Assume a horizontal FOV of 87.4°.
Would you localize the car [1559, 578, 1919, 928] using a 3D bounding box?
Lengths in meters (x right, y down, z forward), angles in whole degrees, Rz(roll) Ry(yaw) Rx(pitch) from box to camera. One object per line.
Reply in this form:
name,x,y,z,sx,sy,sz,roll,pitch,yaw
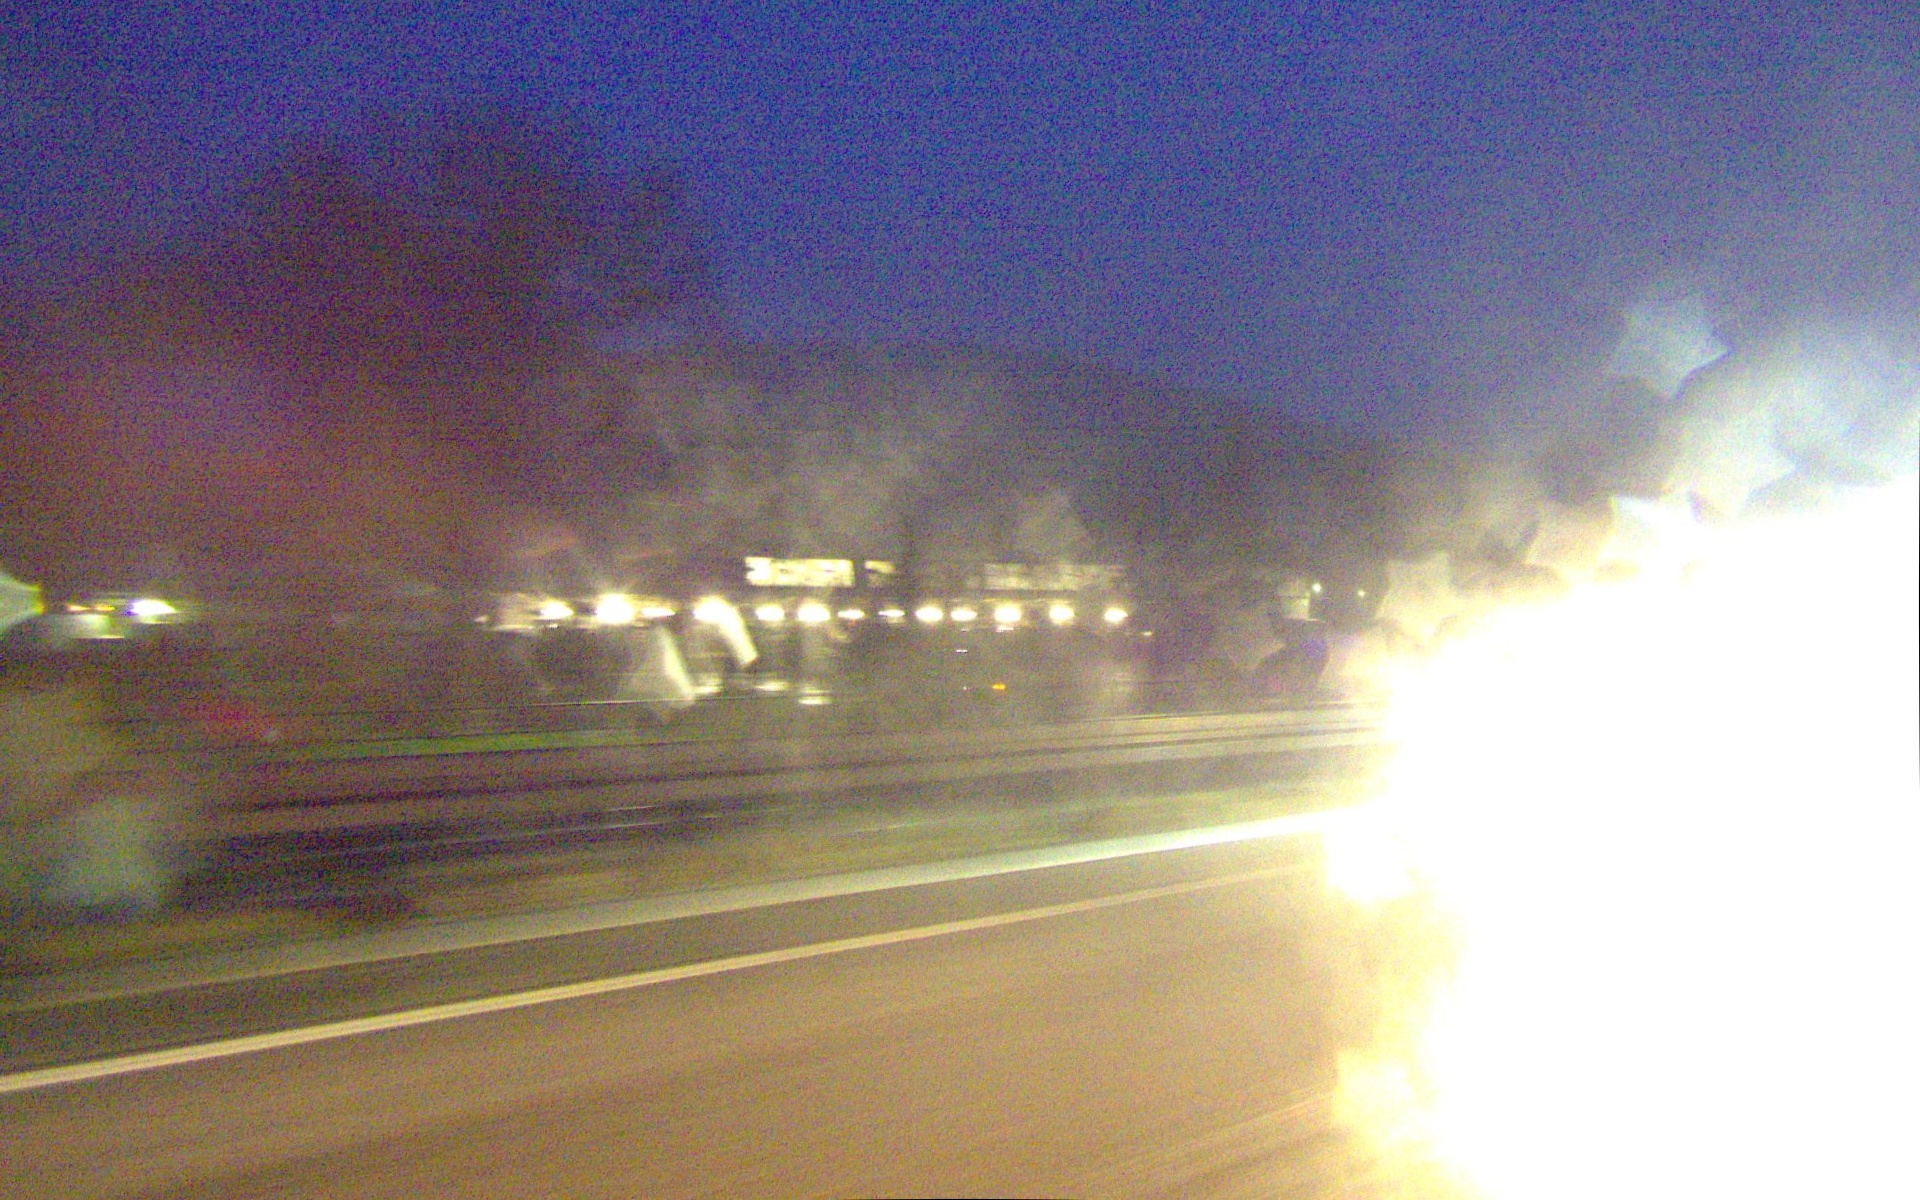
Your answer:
car,5.675,0.795,6.517,3.428,1.703,1.679,2,-1,-31
